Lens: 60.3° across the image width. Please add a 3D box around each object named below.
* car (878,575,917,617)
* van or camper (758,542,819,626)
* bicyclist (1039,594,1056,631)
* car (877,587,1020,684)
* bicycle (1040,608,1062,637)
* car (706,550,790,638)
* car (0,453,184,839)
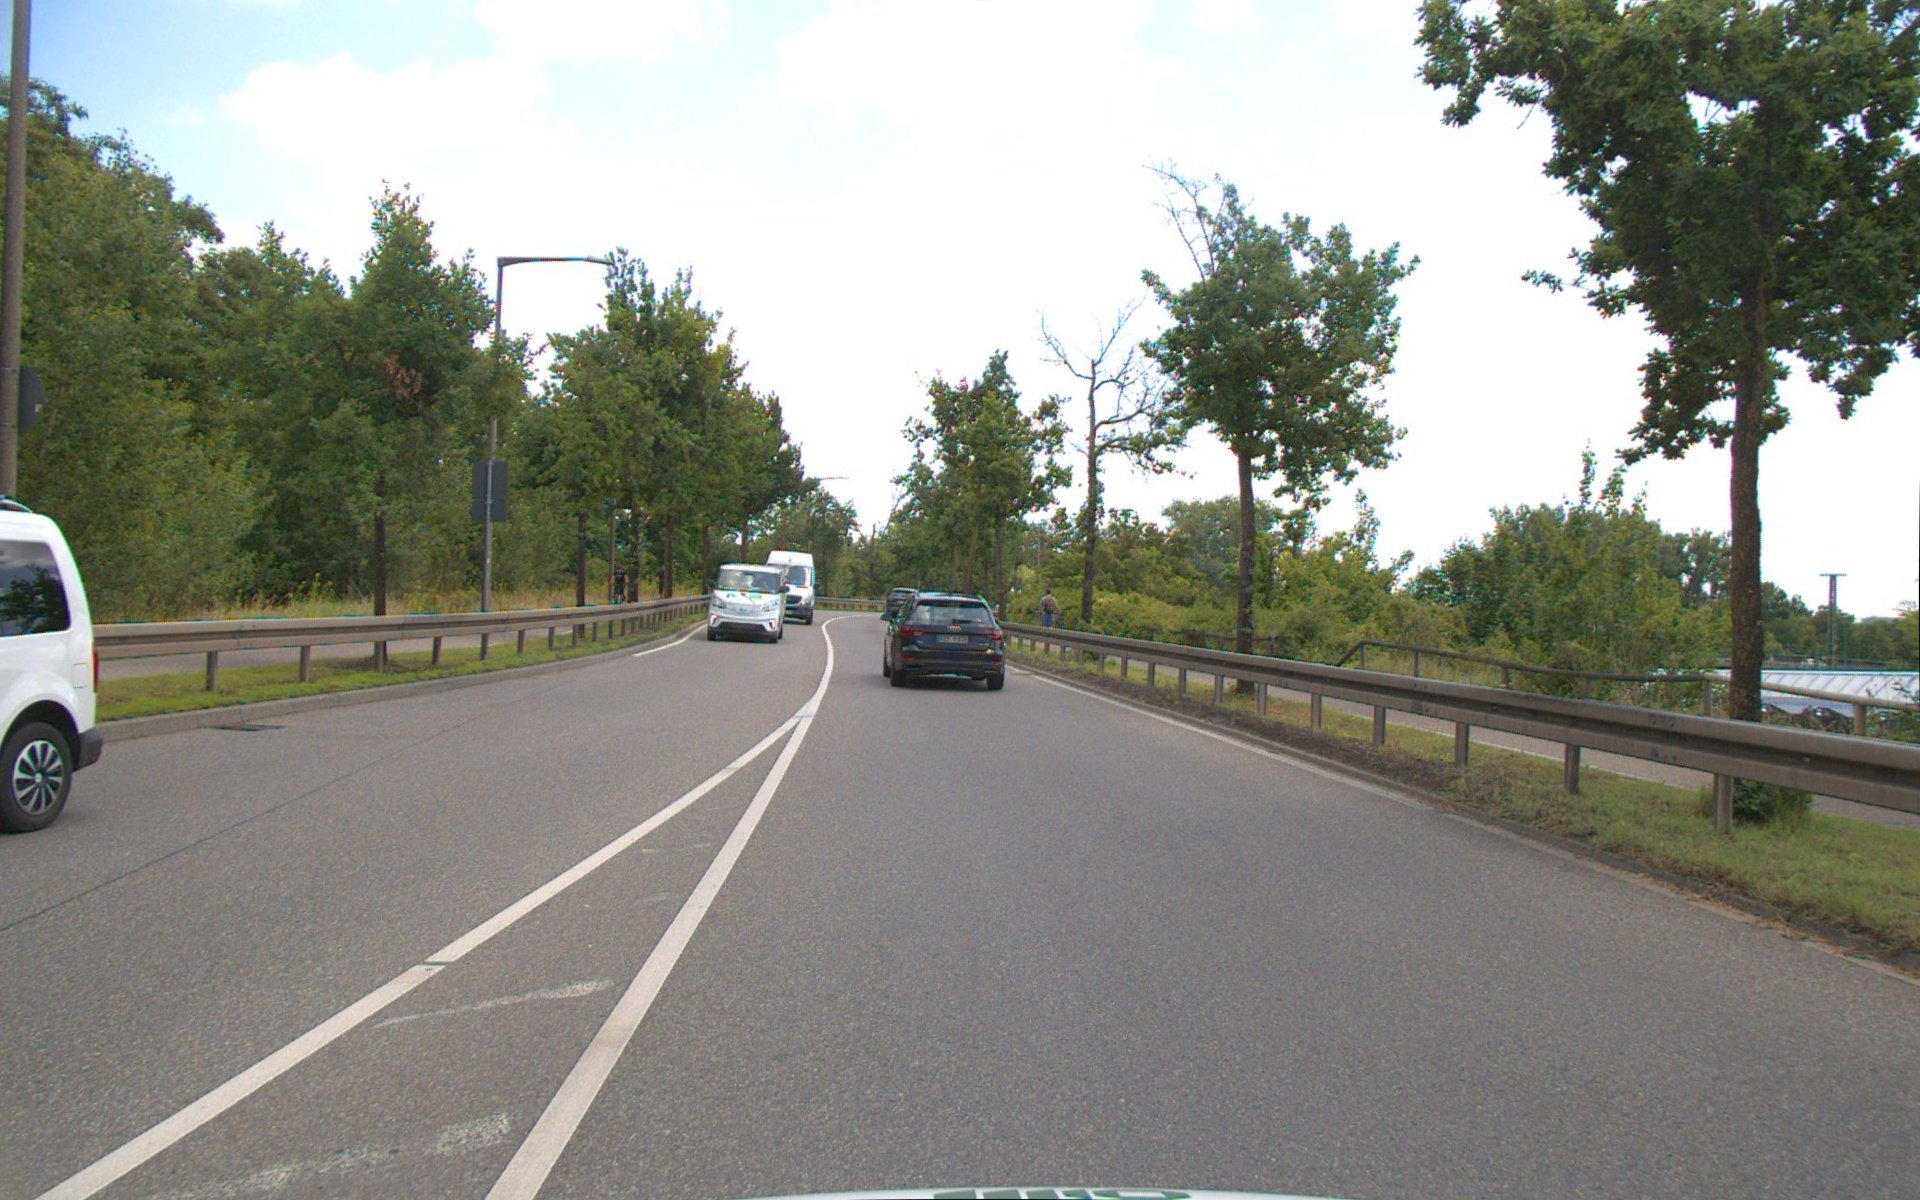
[{"bbox_3d":[-3.460,-0.195,90.578,1.954,2.073,4.708,2,-2,-3],"label":"car"},{"bbox_3d":[-6.279,-0.518,61.013,1.955,2.798,5.380,4,-1,-5],"label":"van or camper"},{"bbox_3d":[2.808,0.400,53.137,0.464,1.189,0.827,1,-1,-2],"label":"bicyclist"},{"bbox_3d":[-0.280,0.510,26.728,1.955,1.415,4.571,1,0,-5],"label":"car"},{"bbox_3d":[2.892,0.741,52.939,0.531,0.881,1.749,4,-1,-1],"label":"bicycle"},{"bbox_3d":[-5.398,-0.109,41.899,1.956,2.049,4.447,2,-1,-8],"label":"car"},{"bbox_3d":[-6.128,0.209,8.213,1.951,2.048,4.562,3,1,6],"label":"car"}]
